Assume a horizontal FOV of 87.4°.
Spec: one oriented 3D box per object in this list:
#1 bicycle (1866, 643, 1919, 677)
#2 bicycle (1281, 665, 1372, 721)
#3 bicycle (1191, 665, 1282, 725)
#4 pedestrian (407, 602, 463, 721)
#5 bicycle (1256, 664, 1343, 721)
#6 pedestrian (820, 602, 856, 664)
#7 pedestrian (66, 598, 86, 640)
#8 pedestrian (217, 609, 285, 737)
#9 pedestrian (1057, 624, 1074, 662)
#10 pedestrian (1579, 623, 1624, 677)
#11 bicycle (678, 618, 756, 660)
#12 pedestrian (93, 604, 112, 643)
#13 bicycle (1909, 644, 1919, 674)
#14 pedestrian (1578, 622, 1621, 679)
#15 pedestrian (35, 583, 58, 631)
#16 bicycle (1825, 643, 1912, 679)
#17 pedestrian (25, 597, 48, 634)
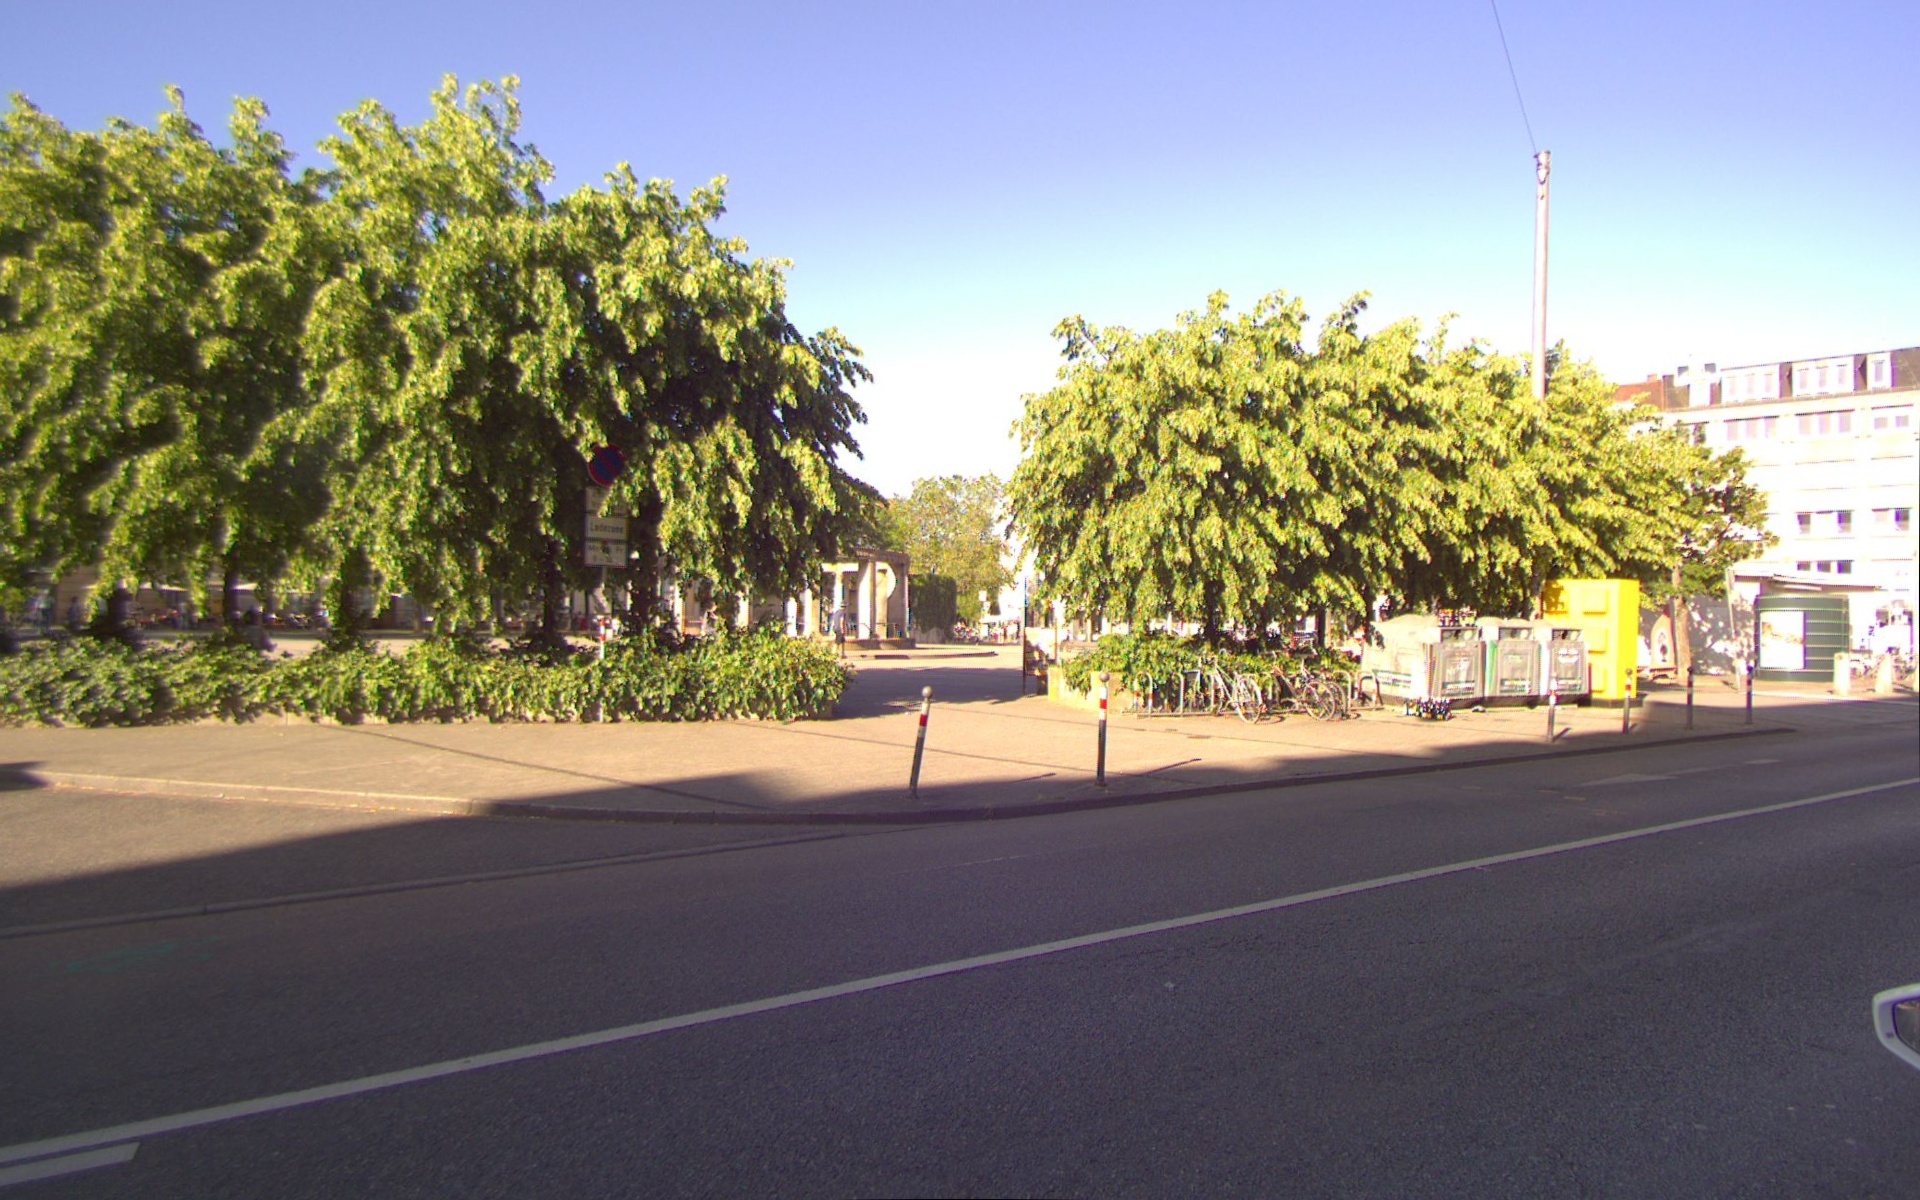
[{"bbox_3d":[33.170,2.110,35.129,0.796,1.119,2.072,1,-1,-30],"label":"bicycle"},{"bbox_3d":[5.964,1.497,16.415,0.468,0.779,1.468,2,0,-27],"label":"bicycle"},{"bbox_3d":[4.239,1.443,15.528,0.467,0.779,1.653,2,0,-20],"label":"bicycle"},{"bbox_3d":[-8.568,0.987,16.391,0.574,1.881,0.598,1,0,41],"label":"pedestrian"},{"bbox_3d":[5.452,1.474,16.205,0.435,0.779,1.469,2,0,-25],"label":"bicycle"},{"bbox_3d":[-3.577,0.948,29.430,0.918,1.775,0.728,2,0,-15],"label":"pedestrian"},{"bbox_3d":[-38.939,0.826,44.247,0.579,1.816,0.593,2,0,-44],"label":"pedestrian"},{"bbox_3d":[-10.723,1.092,15.217,0.722,1.881,0.578,2,0,-28],"label":"pedestrian"},{"bbox_3d":[5.765,2.326,54.696,0.670,2.040,0.579,2,0,-23],"label":"pedestrian"},{"bbox_3d":[20.464,1.586,32.051,0.727,1.658,0.983,1,0,-26],"label":"pedestrian"},{"bbox_3d":[-6.492,1.024,26.821,2.018,1.030,0.504,1,0,16],"label":"bicycle"},{"bbox_3d":[-40.324,1.118,47.242,0.597,1.816,0.575,2,0,-44],"label":"pedestrian"},{"bbox_3d":[37.132,2.244,37.707,0.796,1.119,2.072,1,-1,-30],"label":"bicycle"},{"bbox_3d":[20.394,1.602,32.061,0.734,1.748,0.898,1,0,-26],"label":"pedestrian"},{"bbox_3d":[-34.547,0.271,37.984,0.597,1.816,0.576,2,0,-40],"label":"pedestrian"},{"bbox_3d":[30.864,2.062,34.154,0.796,1.119,2.072,1,-1,-30],"label":"bicycle"},{"bbox_3d":[-46.213,0.763,50.253,0.571,1.816,0.601,1,0,19],"label":"pedestrian"}]
